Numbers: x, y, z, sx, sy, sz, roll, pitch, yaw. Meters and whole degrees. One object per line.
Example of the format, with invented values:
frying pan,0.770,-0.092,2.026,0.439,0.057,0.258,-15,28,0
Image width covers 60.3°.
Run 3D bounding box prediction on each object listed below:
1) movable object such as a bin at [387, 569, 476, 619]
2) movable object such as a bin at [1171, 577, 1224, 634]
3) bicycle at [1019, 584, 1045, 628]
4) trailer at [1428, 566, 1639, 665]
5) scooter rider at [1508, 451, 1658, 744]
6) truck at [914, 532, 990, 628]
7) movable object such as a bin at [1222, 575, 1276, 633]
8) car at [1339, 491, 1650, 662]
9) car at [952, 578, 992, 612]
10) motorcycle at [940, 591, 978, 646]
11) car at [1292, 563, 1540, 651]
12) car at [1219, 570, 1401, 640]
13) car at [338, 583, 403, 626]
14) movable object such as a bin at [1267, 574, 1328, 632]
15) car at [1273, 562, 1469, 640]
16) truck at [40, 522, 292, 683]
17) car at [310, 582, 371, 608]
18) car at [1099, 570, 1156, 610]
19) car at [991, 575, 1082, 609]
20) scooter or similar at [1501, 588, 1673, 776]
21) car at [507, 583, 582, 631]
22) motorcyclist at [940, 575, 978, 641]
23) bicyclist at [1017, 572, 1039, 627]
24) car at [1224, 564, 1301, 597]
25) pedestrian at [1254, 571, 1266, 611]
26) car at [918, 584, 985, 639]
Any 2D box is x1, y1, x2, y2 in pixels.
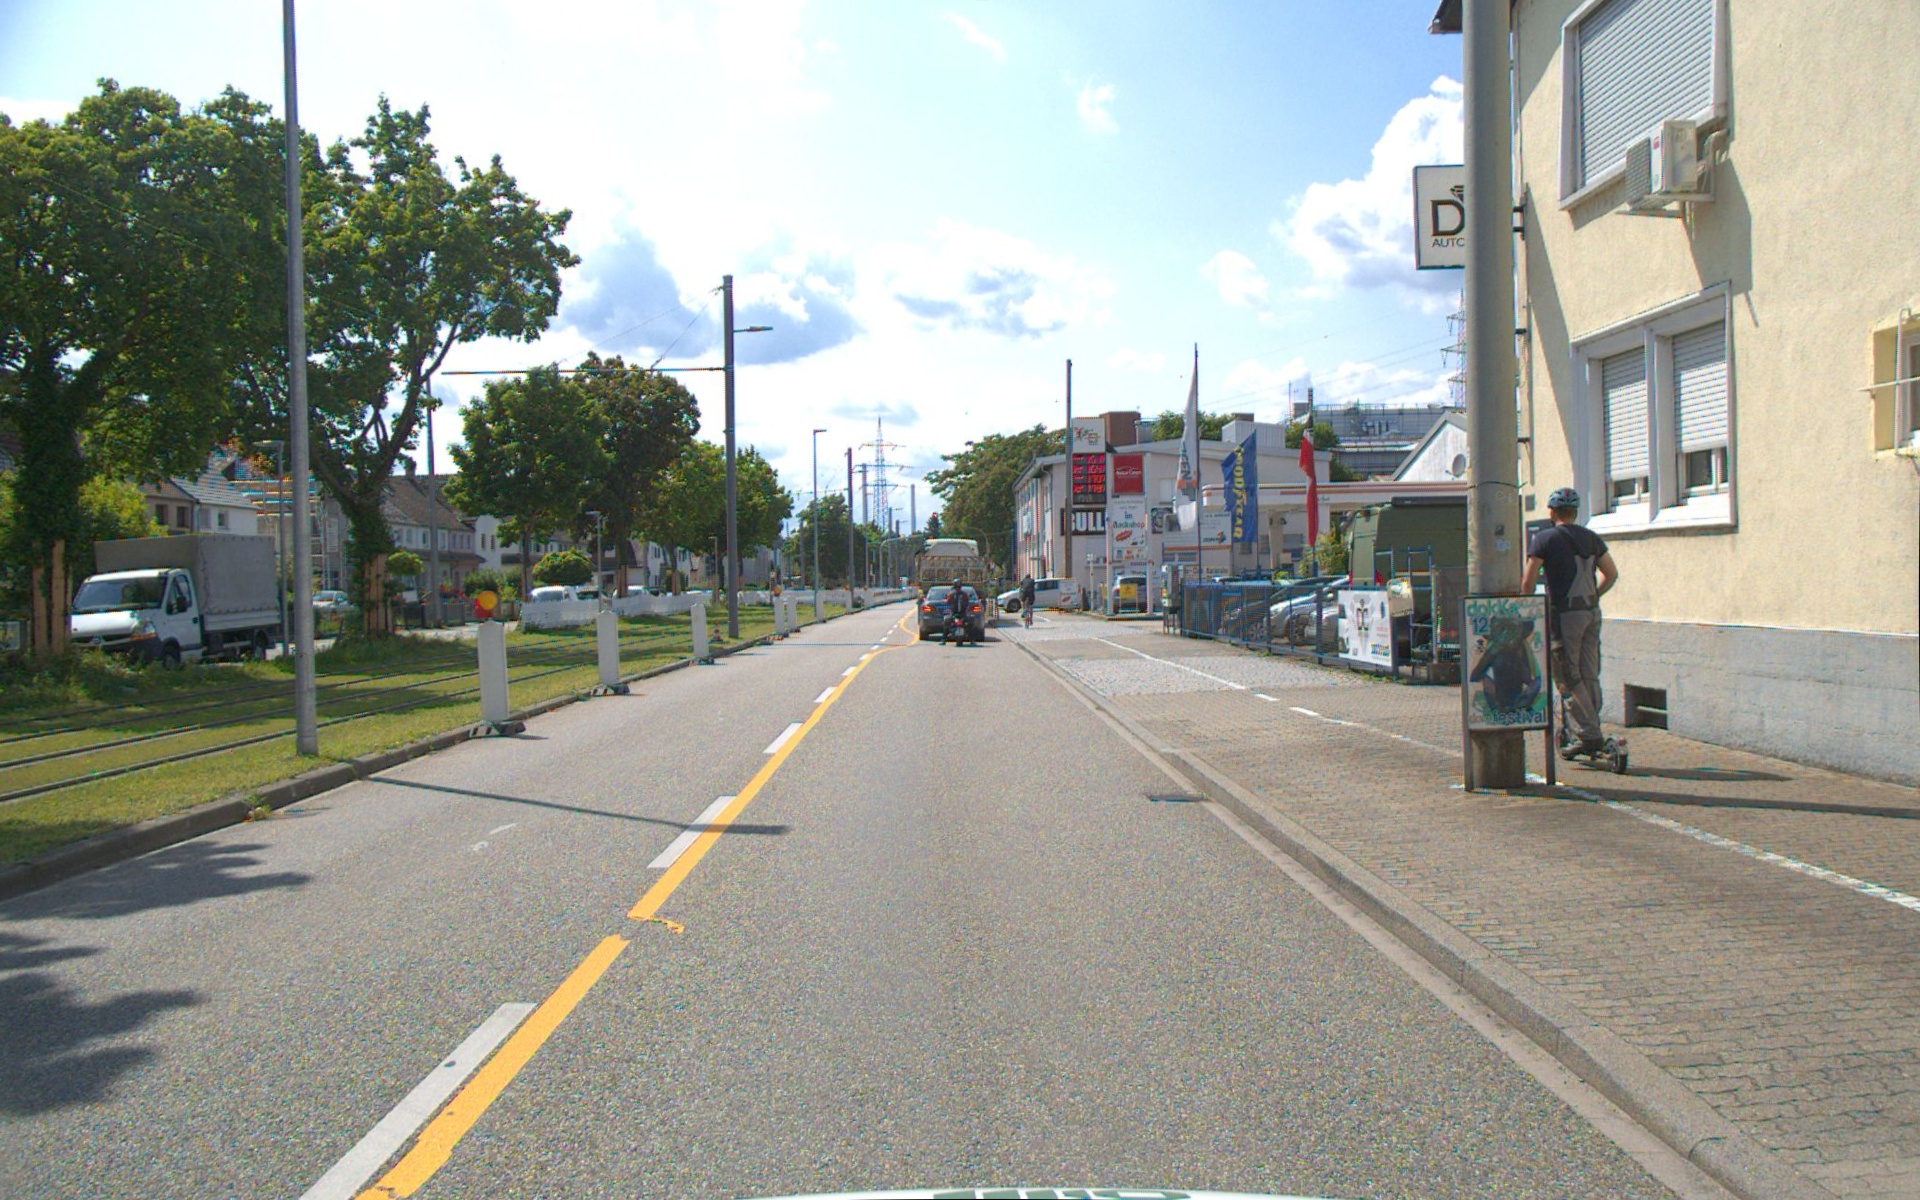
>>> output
movable object such as a bin,-27.731,-0.328,86.828,4.277,2.492,1.777,-2,1,-23
movable object such as a bin,6.314,0.143,44.018,1.230,1.469,0.824,-2,0,0
bicycle,2.350,0.196,54.307,0.678,1.385,2.418,-1,1,-1
trailer,8.704,0.229,25.222,2.725,1.356,1.303,-2,0,0
scooter rider,4.453,-0.024,11.868,0.702,1.997,0.785,-3,1,0
truck,-0.283,-0.842,62.833,2.557,3.312,9.183,-2,2,0
movable object such as a bin,7.663,0.108,43.925,1.230,1.469,0.824,-2,0,0
car,8.766,-0.381,27.449,4.443,2.618,2.151,-1,0,1
car,0.535,-0.231,75.707,1.784,1.489,4.000,0,1,0
motorcycle,-0.038,0.449,42.031,0.920,1.343,2.644,1,0,-1
car,8.249,0.130,30.230,4.095,1.456,1.822,-1,0,6
car,8.032,0.115,37.896,3.903,1.468,1.711,-1,0,17
car,-25.471,0.181,71.545,1.650,1.752,3.030,-2,0,-1
movable object such as a bin,8.963,0.074,43.969,1.295,1.469,0.953,-2,0,-8
car,8.697,0.021,35.054,3.902,1.522,1.752,-1,0,15
truck,-15.904,-0.004,33.622,1.953,2.815,6.275,-4,1,-1
car,-27.890,-0.228,74.564,1.652,1.071,3.974,-2,0,-7
car,7.382,-0.418,73.393,1.920,1.677,3.998,-2,0,-3
car,3.867,-0.402,83.965,4.250,1.578,1.946,-2,0,-9
scooter or similar,4.411,0.540,11.741,0.529,1.216,1.610,-3,0,-1
car,-16.570,0.266,66.152,1.953,1.780,3.999,-2,0,-1
motorcyclist,-0.030,0.202,41.850,0.920,1.643,1.205,1,0,-1
bicyclist,2.234,-0.008,54.212,0.657,1.774,0.813,-1,0,-1
car,17.148,-1.110,93.885,3.906,1.677,1.965,-2,0,-1
pedestrian,13.077,-0.384,72.189,0.388,1.718,0.485,-2,0,0
car,-0.249,0.280,46.502,1.784,1.449,4.000,0,1,-1
